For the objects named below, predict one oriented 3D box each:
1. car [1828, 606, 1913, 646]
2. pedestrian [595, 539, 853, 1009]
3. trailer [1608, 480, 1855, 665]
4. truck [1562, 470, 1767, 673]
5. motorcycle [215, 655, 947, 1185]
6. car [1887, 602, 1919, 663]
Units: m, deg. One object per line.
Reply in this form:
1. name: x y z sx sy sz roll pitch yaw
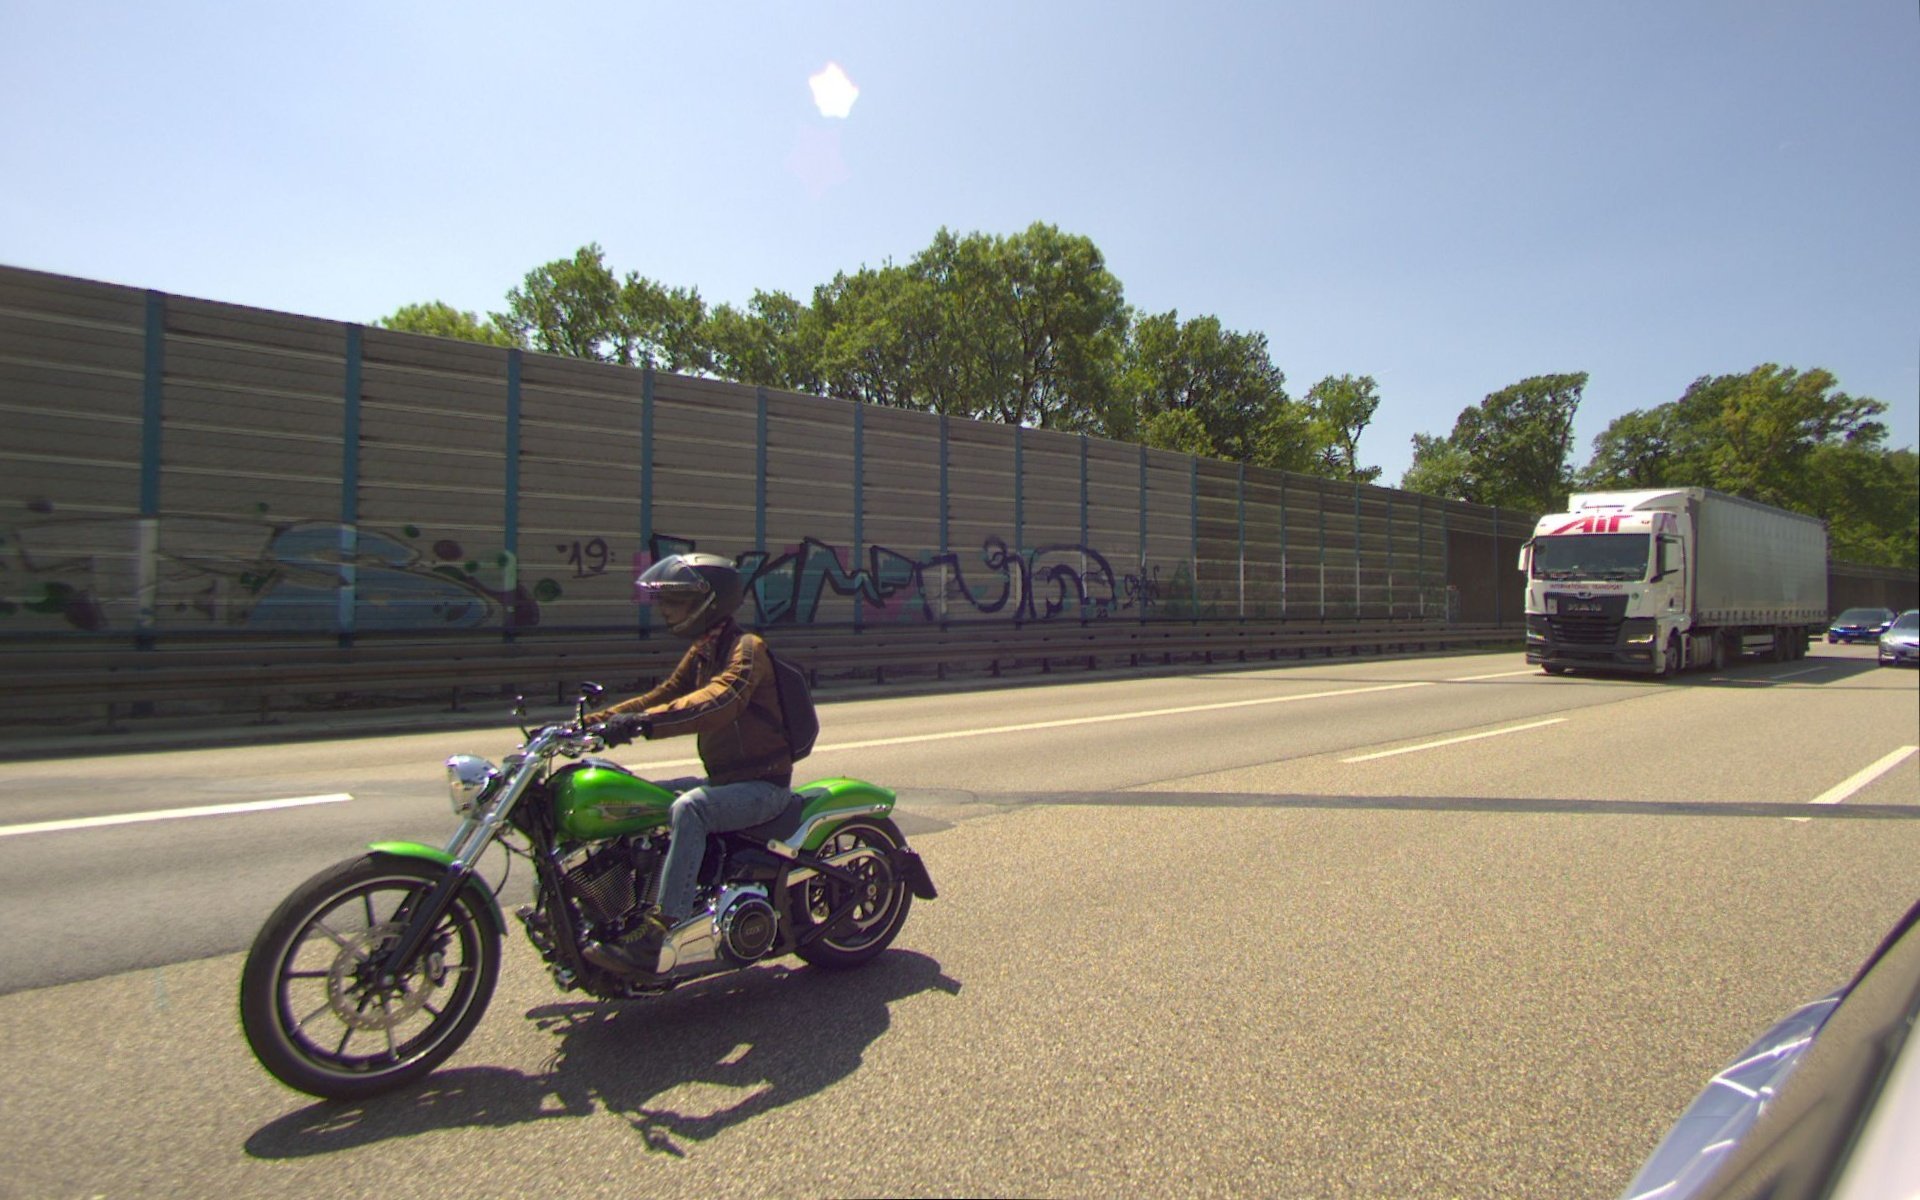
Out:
1. car: 37.000 1.018 41.099 4.099 1.512 1.861 0 -1 -37
2. pedestrian: -0.894 0.554 3.765 0.626 1.497 0.853 1 -1 -38
3. trailer: 21.702 -0.662 27.941 13.351 4.142 2.603 0 0 -40
4. truck: 16.390 -0.608 23.439 5.454 4.142 2.603 0 0 -40
5. motorcycle: -1.187 0.841 3.526 2.235 1.197 0.861 1 -1 -39
6. car: 24.853 0.793 25.252 4.099 1.452 1.861 0 -1 -37
